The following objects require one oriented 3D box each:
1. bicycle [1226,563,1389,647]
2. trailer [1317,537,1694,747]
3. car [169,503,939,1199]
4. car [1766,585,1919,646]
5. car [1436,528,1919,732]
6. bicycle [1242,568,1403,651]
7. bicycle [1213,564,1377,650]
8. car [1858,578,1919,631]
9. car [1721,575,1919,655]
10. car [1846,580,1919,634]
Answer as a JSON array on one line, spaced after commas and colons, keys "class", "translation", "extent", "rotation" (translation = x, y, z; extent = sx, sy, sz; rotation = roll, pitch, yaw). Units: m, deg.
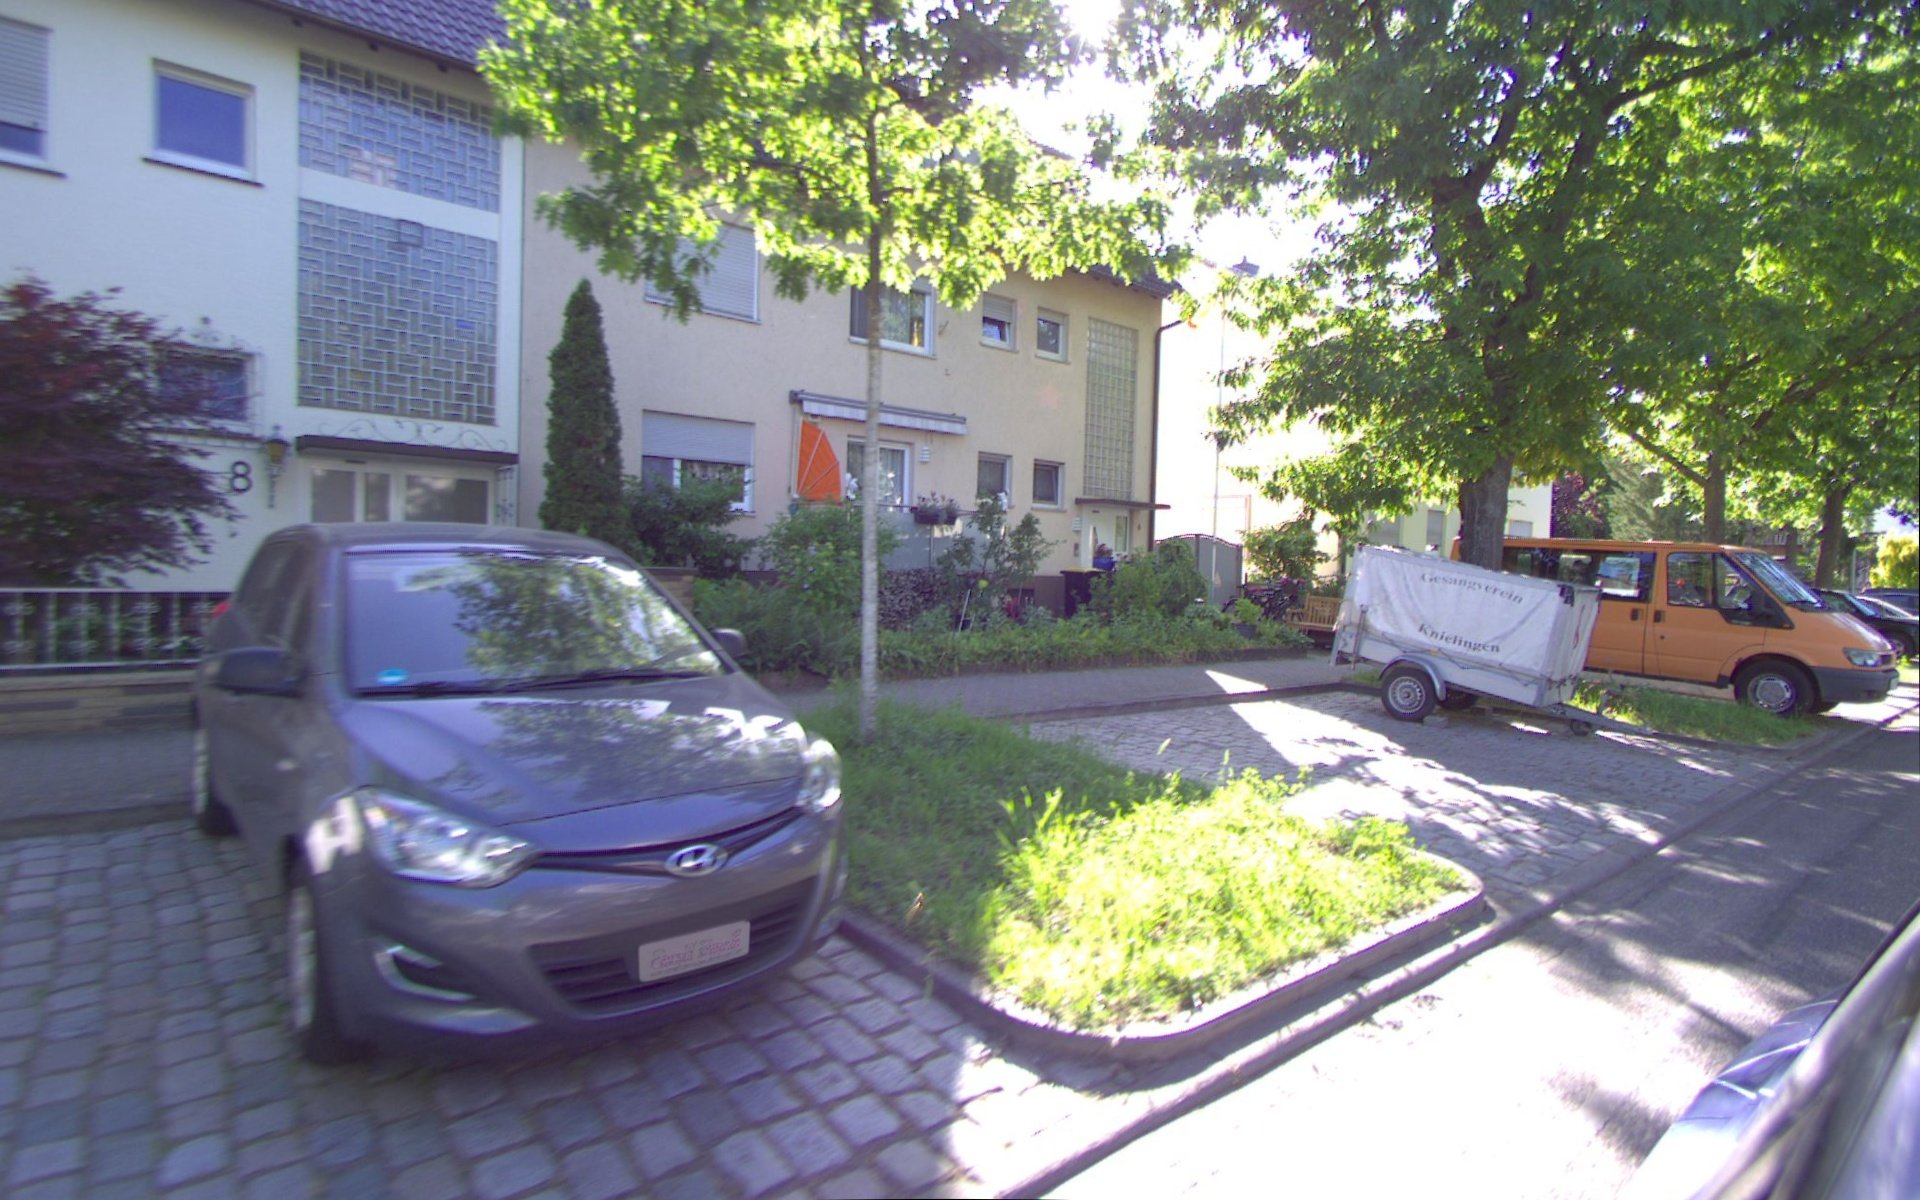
[{"class": "bicycle", "translation": [6.069, 0.038, 17.895], "extent": [0.459, 1.252, 2.867], "rotation": [-1, 5, -39]}, {"class": "trailer", "translation": [5.406, 0.276, 10.209], "extent": [2.948, 1.683, 1.589], "rotation": [6, 6, 44]}, {"class": "car", "translation": [-2.047, 0.495, 4.250], "extent": [1.728, 1.643, 3.994], "rotation": [-1, 4, -42]}, {"class": "car", "translation": [24.594, 0.420, 27.034], "extent": [1.659, 1.347, 4.443], "rotation": [0, 4, -37]}, {"class": "car", "translation": [9.079, 0.184, 13.085], "extent": [2.049, 2.108, 4.831], "rotation": [0, 3, -40]}, {"class": "bicycle", "translation": [6.436, 0.123, 18.204], "extent": [0.459, 1.252, 2.867], "rotation": [-1, 5, -39]}, {"class": "bicycle", "translation": [5.724, 0.071, 17.547], "extent": [0.459, 1.252, 2.867], "rotation": [0, 4, -39]}, {"class": "car", "translation": [32.710, 0.251, 33.172], "extent": [1.805, 1.666, 4.587], "rotation": [0, 4, -39]}, {"class": "car", "translation": [20.766, 0.316, 23.692], "extent": [1.835, 1.579, 4.349], "rotation": [0, 4, -40]}, {"class": "car", "translation": [30.487, 0.298, 31.315], "extent": [1.808, 1.548, 4.332], "rotation": [0, 4, -39]}]
